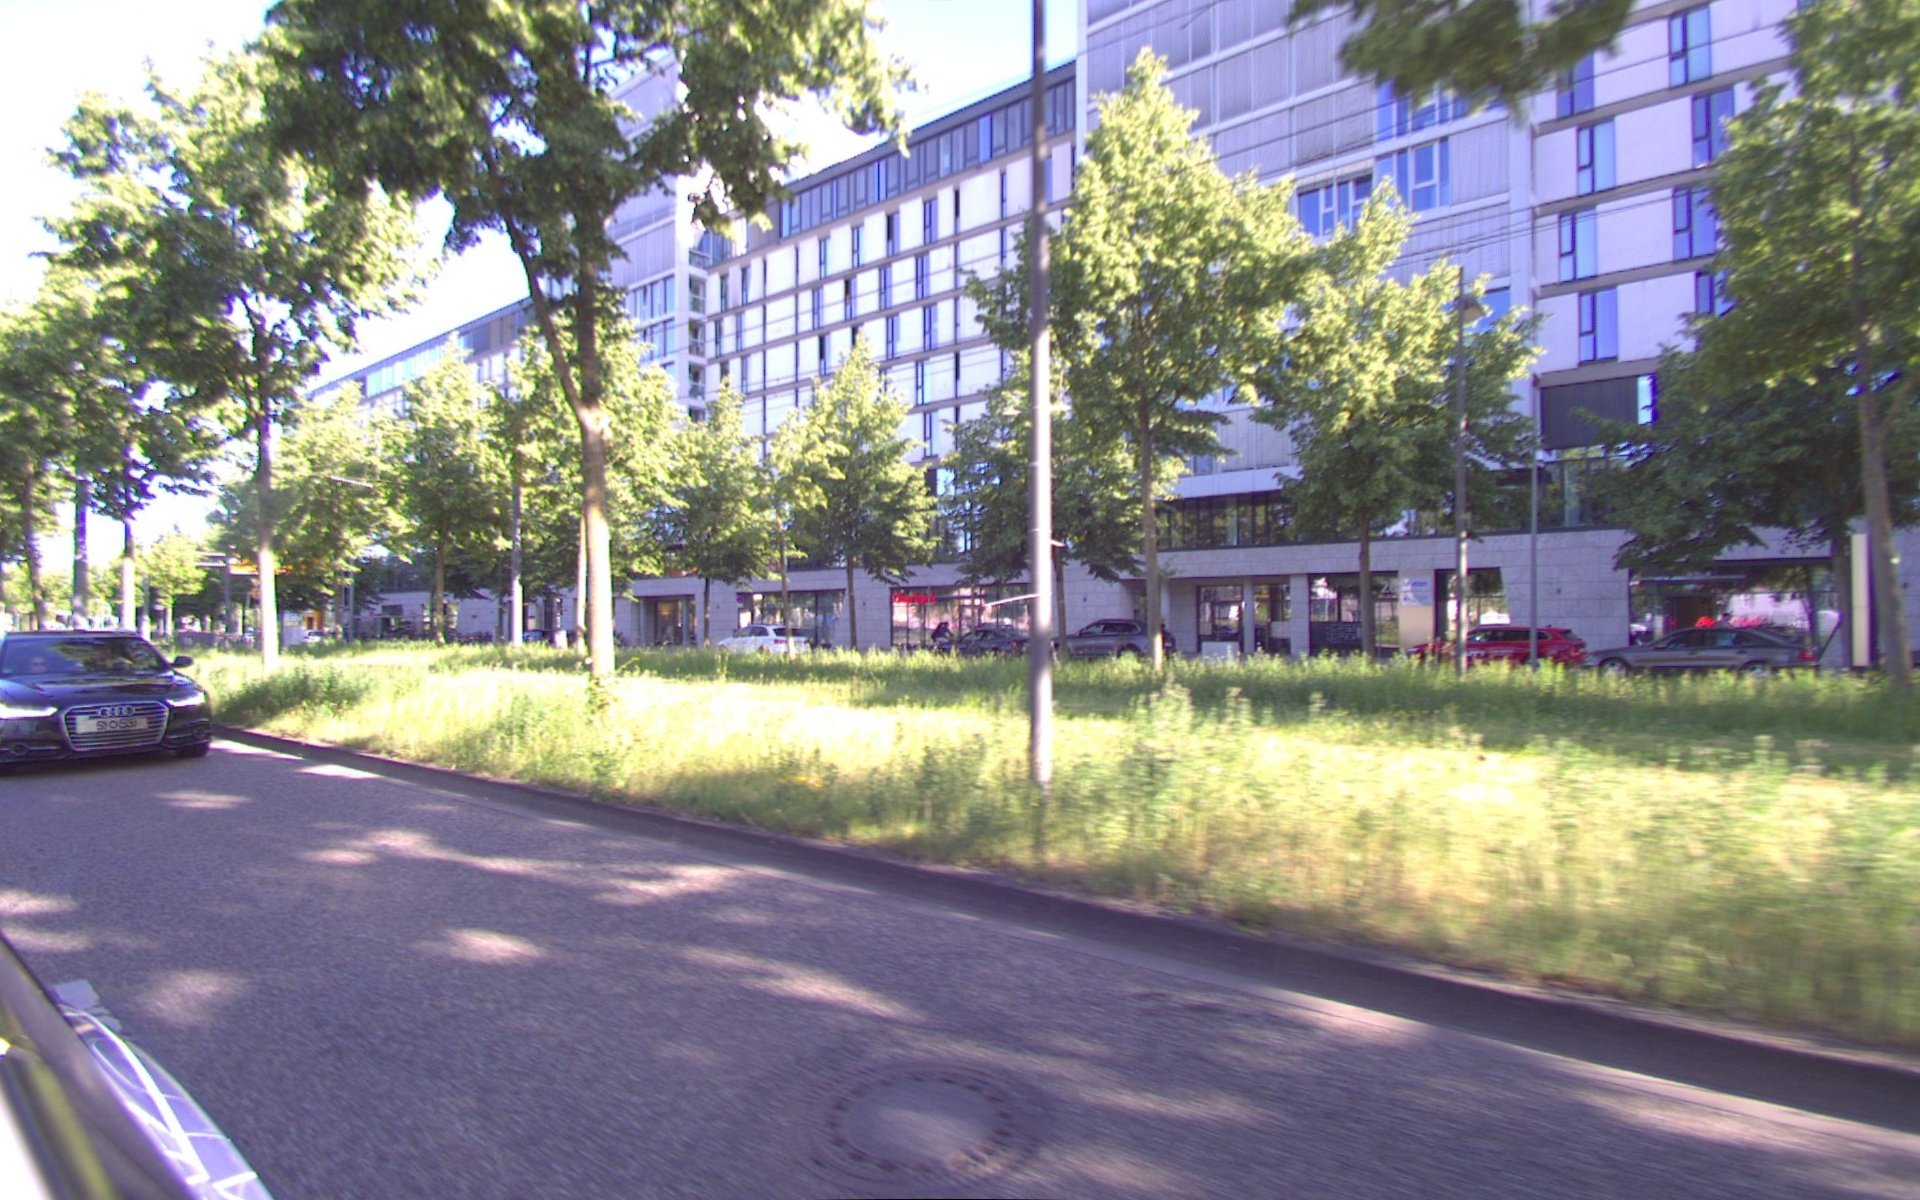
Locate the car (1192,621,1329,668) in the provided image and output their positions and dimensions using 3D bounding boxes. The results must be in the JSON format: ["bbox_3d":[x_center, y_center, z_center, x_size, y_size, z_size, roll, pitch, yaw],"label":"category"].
[{"bbox_3d":[9.363,1.378,31.676,3.750,1.364,1.716,-2,-2,40],"label":"car"}]

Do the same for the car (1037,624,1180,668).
[{"bbox_3d":[5.136,1.582,35.421,4.800,1.430,1.651,-2,-2,40],"label":"car"}]

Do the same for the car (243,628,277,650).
[{"bbox_3d":[-67.397,3.696,97.373,3.998,1.940,1.781,0,0,41],"label":"car"}]

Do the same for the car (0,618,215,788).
[{"bbox_3d":[-10.085,1.003,11.384,4.598,1.538,1.766,-2,-1,41],"label":"car"}]

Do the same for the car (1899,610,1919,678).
[{"bbox_3d":[22.413,0.890,20.745,4.543,1.431,1.697,-2,-2,42],"label":"car"}]

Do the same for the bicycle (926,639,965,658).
[{"bbox_3d":[-0.720,2.355,49.580,2.013,0.888,0.536,-1,-1,40],"label":"bicycle"}]

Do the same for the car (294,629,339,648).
[{"bbox_3d":[-46.016,2.750,72.304,3.481,1.247,1.751,-2,-2,40],"label":"car"}]

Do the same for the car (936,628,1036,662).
[{"bbox_3d":[0.972,1.693,38.737,3.580,1.216,1.651,-1,-1,40],"label":"car"}]

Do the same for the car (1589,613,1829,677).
[{"bbox_3d":[18.059,1.057,24.566,4.542,1.431,1.698,-2,-2,41],"label":"car"}]

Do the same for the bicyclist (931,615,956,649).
[{"bbox_3d":[-0.728,1.384,44.064,0.831,1.475,0.712,-2,-2,42],"label":"bicyclist"}]

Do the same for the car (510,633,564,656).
[{"bbox_3d":[-25.693,2.683,61.453,3.463,1.244,1.633,0,0,40],"label":"car"}]

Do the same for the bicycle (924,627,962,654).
[{"bbox_3d":[-0.736,1.748,44.071,1.570,1.128,0.724,-2,-2,42],"label":"bicycle"}]

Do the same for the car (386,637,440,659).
[{"bbox_3d":[-39.515,3.451,73.082,4.542,1.431,1.978,-2,-1,40],"label":"car"}]

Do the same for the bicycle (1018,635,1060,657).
[{"bbox_3d":[3.582,2.089,46.099,1.981,0.979,0.536,-2,-2,40],"label":"bicycle"}]

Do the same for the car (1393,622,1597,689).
[{"bbox_3d":[15.895,1.629,30.235,5.121,1.790,1.780,-2,-1,38],"label":"car"}]

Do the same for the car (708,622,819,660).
[{"bbox_3d":[-7.397,1.551,37.852,4.306,1.302,1.779,-3,-4,40],"label":"car"}]

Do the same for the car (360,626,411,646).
[{"bbox_3d":[-43.692,2.706,76.943,4.542,1.431,1.938,-2,-2,41],"label":"car"}]
